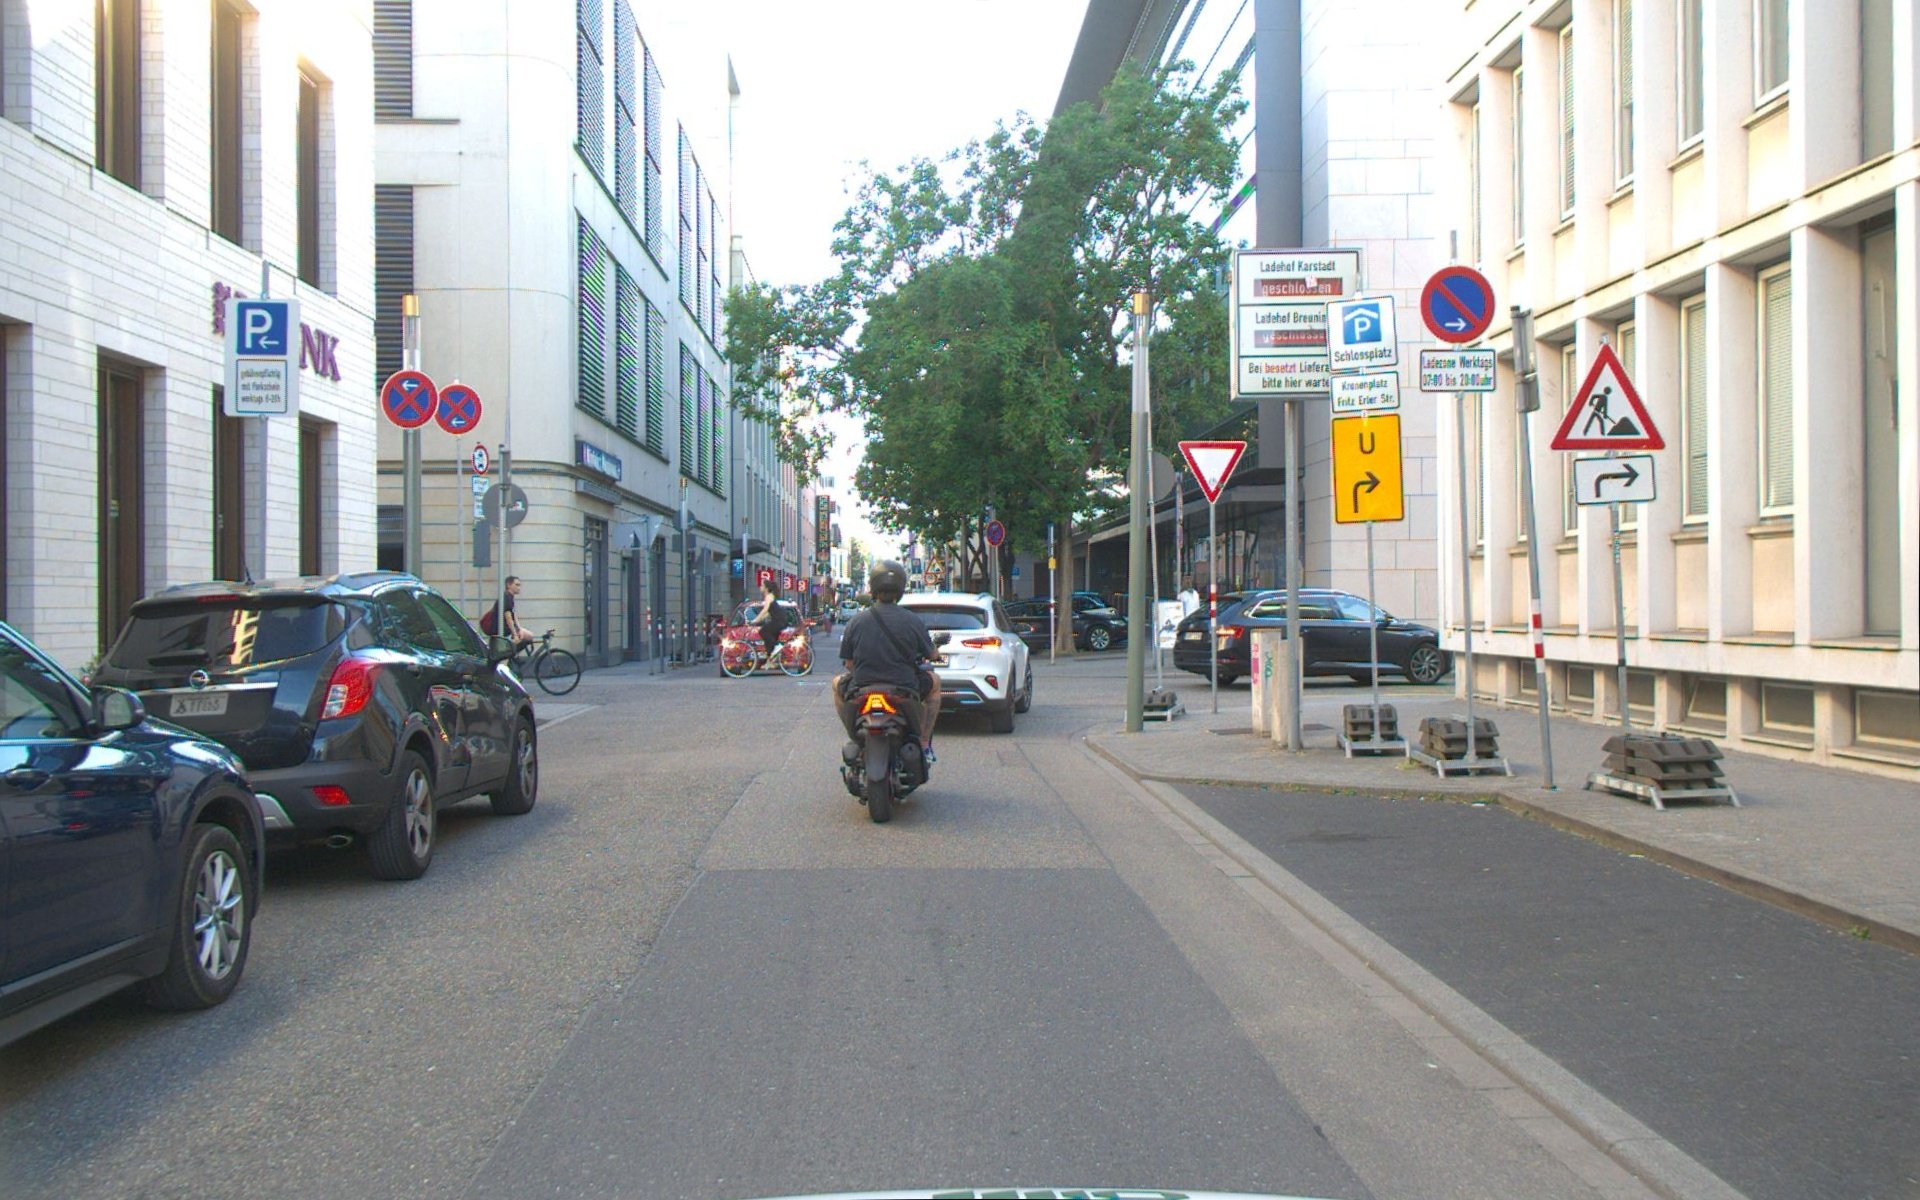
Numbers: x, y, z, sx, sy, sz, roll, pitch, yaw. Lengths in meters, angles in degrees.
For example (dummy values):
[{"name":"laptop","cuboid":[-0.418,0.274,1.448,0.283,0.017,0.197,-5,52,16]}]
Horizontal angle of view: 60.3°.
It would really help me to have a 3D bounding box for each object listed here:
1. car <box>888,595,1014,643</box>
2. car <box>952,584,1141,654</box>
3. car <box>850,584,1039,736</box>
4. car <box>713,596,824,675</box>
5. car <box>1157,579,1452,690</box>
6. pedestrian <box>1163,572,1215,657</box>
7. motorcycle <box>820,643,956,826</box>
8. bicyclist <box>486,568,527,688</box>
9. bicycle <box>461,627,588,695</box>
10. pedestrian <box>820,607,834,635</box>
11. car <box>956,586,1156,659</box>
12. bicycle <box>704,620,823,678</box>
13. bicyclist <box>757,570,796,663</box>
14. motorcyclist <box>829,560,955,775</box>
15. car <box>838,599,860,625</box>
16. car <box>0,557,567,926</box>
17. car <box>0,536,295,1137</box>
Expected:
[{"name":"car","cuboid":[-0.381,0.775,67.200,4.908,1.525,1.998,-4,-1,-5]},{"name":"car","cuboid":[2.340,0.518,45.482,4.908,1.525,1.998,-4,-1,-5]},{"name":"car","cuboid":[-0.064,0.614,19.369,1.784,1.568,4.266,-1,0,5]},{"name":"car","cuboid":[-3.826,0.747,33.678,1.785,1.491,4.262,-1,-2,0]},{"name":"car","cuboid":[5.414,0.486,25.958,4.291,1.568,1.816,-1,1,-23]},{"name":"pedestrian","cuboid":[4.907,0.311,35.487,0.887,1.735,0.834,-3,-1,-1]},{"name":"motorcycle","cuboid":[-0.474,0.875,11.378,0.855,1.129,1.839,0,-1,-1]},{"name":"bicyclist","cuboid":[-6.748,0.411,24.616,0.540,1.762,0.500,0,-1,-11]},{"name":"bicycle","cuboid":[-6.480,0.899,24.658,1.782,0.991,0.510,0,-1,-11]},{"name":"pedestrian","cuboid":[-7.535,1.195,93.788,0.717,1.601,0.636,0,-1,-2]},{"name":"car","cuboid":[2.446,0.578,43.059,4.908,1.477,1.998,-4,-1,-5]},{"name":"bicycle","cuboid":[-3.523,0.876,29.766,2.058,1.012,0.519,0,-1,3]},{"name":"bicyclist","cuboid":[-3.305,0.295,29.774,0.617,1.654,0.498,0,-1,2]},{"name":"motorcyclist","cuboid":[-0.462,0.462,11.422,0.849,1.452,0.455,0,-1,-2]},{"name":"car","cuboid":[-10.431,1.084,154.945,1.954,2.370,5.016,1,0,-5]},{"name":"car","cuboid":[-3.803,0.669,10.186,1.786,1.707,4.262,-3,0,-2]},{"name":"car","cuboid":[-3.480,0.674,4.602,1.705,1.622,4.151,-3,0,-3]}]
